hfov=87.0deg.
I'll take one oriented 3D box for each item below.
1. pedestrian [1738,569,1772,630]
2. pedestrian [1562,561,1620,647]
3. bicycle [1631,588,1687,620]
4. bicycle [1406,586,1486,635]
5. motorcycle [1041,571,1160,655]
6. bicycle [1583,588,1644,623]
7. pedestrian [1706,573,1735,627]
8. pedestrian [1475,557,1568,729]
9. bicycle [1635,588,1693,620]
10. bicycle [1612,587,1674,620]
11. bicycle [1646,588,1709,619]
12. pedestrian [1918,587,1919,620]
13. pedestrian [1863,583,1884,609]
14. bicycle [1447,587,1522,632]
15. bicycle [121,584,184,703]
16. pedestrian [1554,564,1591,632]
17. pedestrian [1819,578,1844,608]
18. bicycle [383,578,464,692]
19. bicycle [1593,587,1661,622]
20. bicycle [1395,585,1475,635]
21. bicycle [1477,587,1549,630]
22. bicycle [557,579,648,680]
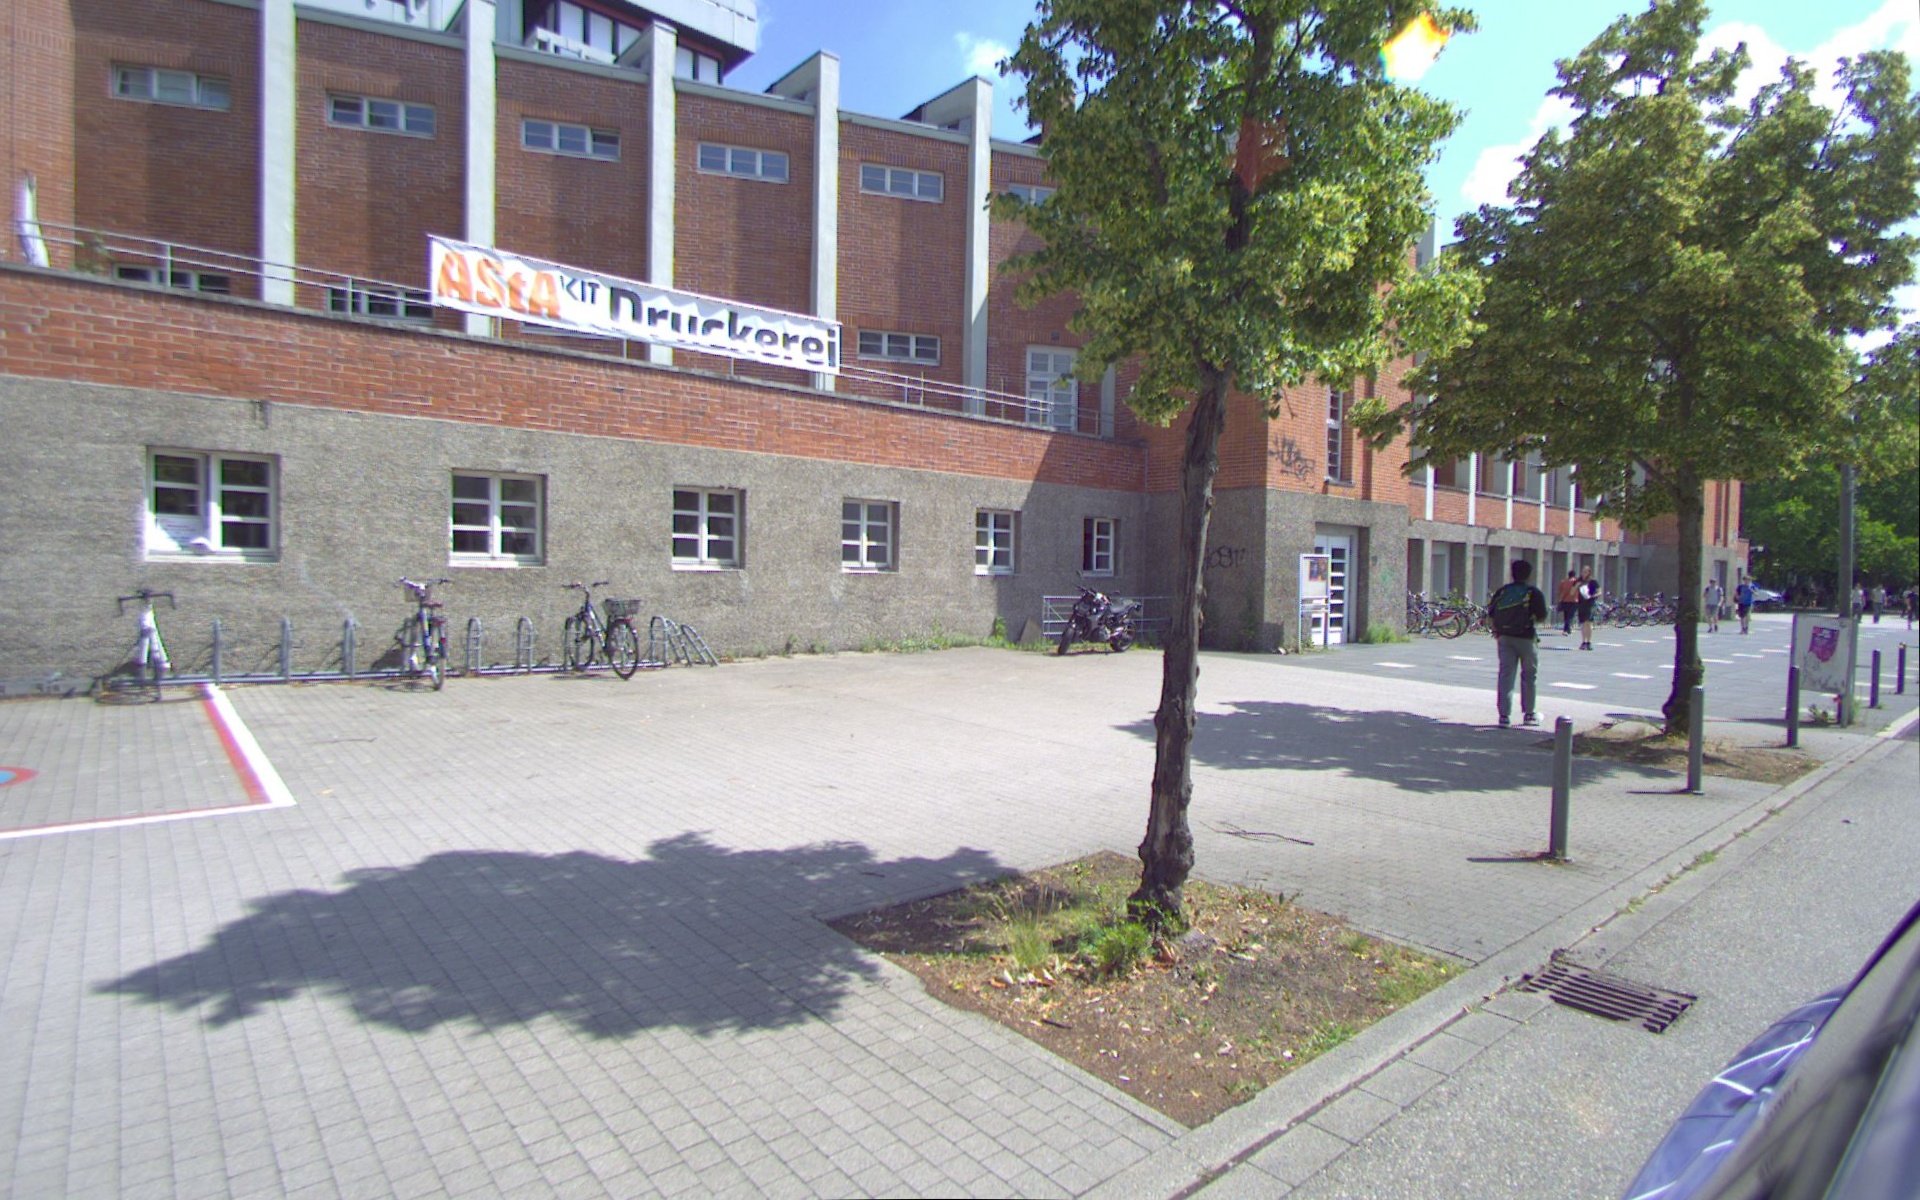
[{"bbox_3d":[25.464,-0.023,32.418,1.092,1.913,0.665,-1,3,-44],"label":"pedestrian"},{"bbox_3d":[14.265,0.072,22.872,0.844,1.857,1.178,2,2,44],"label":"pedestrian"},{"bbox_3d":[26.034,0.129,37.707,0.428,1.124,1.653,0,2,-42],"label":"bicycle"},{"bbox_3d":[12.459,0.242,25.971,0.509,1.164,1.756,0,2,-42],"label":"bicycle"},{"bbox_3d":[2.415,0.193,17.253,2.180,1.339,0.698,0,2,-39],"label":"motorcycle"},{"bbox_3d":[22.223,0.170,34.430,0.428,1.124,1.685,0,2,-42],"label":"bicycle"},{"bbox_3d":[24.907,-0.014,33.144,0.986,1.727,0.585,-1,3,-45],"label":"pedestrian"},{"bbox_3d":[5.890,0.413,10.609,0.641,1.718,0.780,2,2,44],"label":"pedestrian"},{"bbox_3d":[26.539,0.140,38.169,0.428,1.124,1.697,0,2,-42],"label":"bicycle"},{"bbox_3d":[24.775,0.129,36.719,0.428,1.124,1.800,0,2,-42],"label":"bicycle"},{"bbox_3d":[27.867,0.119,39.349,0.449,1.124,1.933,0,2,-42],"label":"bicycle"},{"bbox_3d":[51.347,0.206,53.633,0.782,1.696,1.063,3,3,42],"label":"pedestrian"},{"bbox_3d":[59.263,-0.263,65.625,0.744,1.694,0.838,2,1,27],"label":"pedestrian"},{"bbox_3d":[14.262,0.245,27.554,0.428,1.124,1.750,0,2,-42],"label":"bicycle"},{"bbox_3d":[-7.835,0.378,9.793,0.440,1.015,1.675,0,2,-40],"label":"bicycle"},{"bbox_3d":[17.072,-0.062,28.203,0.663,1.857,0.892,2,2,44],"label":"pedestrian"},{"bbox_3d":[57.610,-0.474,66.915,0.973,1.970,0.969,-2,0,27],"label":"pedestrian"},{"bbox_3d":[-5.906,0.344,11.092,0.440,1.123,1.705,0,2,-40],"label":"bicycle"},{"bbox_3d":[23.422,0.150,35.561,0.428,1.124,1.914,0,2,-42],"label":"bicycle"},{"bbox_3d":[11.843,0.236,25.290,0.428,1.164,1.756,0,2,-42],"label":"bicycle"},{"bbox_3d":[15.471,0.227,28.338,0.428,1.124,1.685,0,2,-42],"label":"bicycle"},{"bbox_3d":[-4.435,0.322,12.486,0.440,1.123,1.810,0,2,-40],"label":"bicycle"}]
